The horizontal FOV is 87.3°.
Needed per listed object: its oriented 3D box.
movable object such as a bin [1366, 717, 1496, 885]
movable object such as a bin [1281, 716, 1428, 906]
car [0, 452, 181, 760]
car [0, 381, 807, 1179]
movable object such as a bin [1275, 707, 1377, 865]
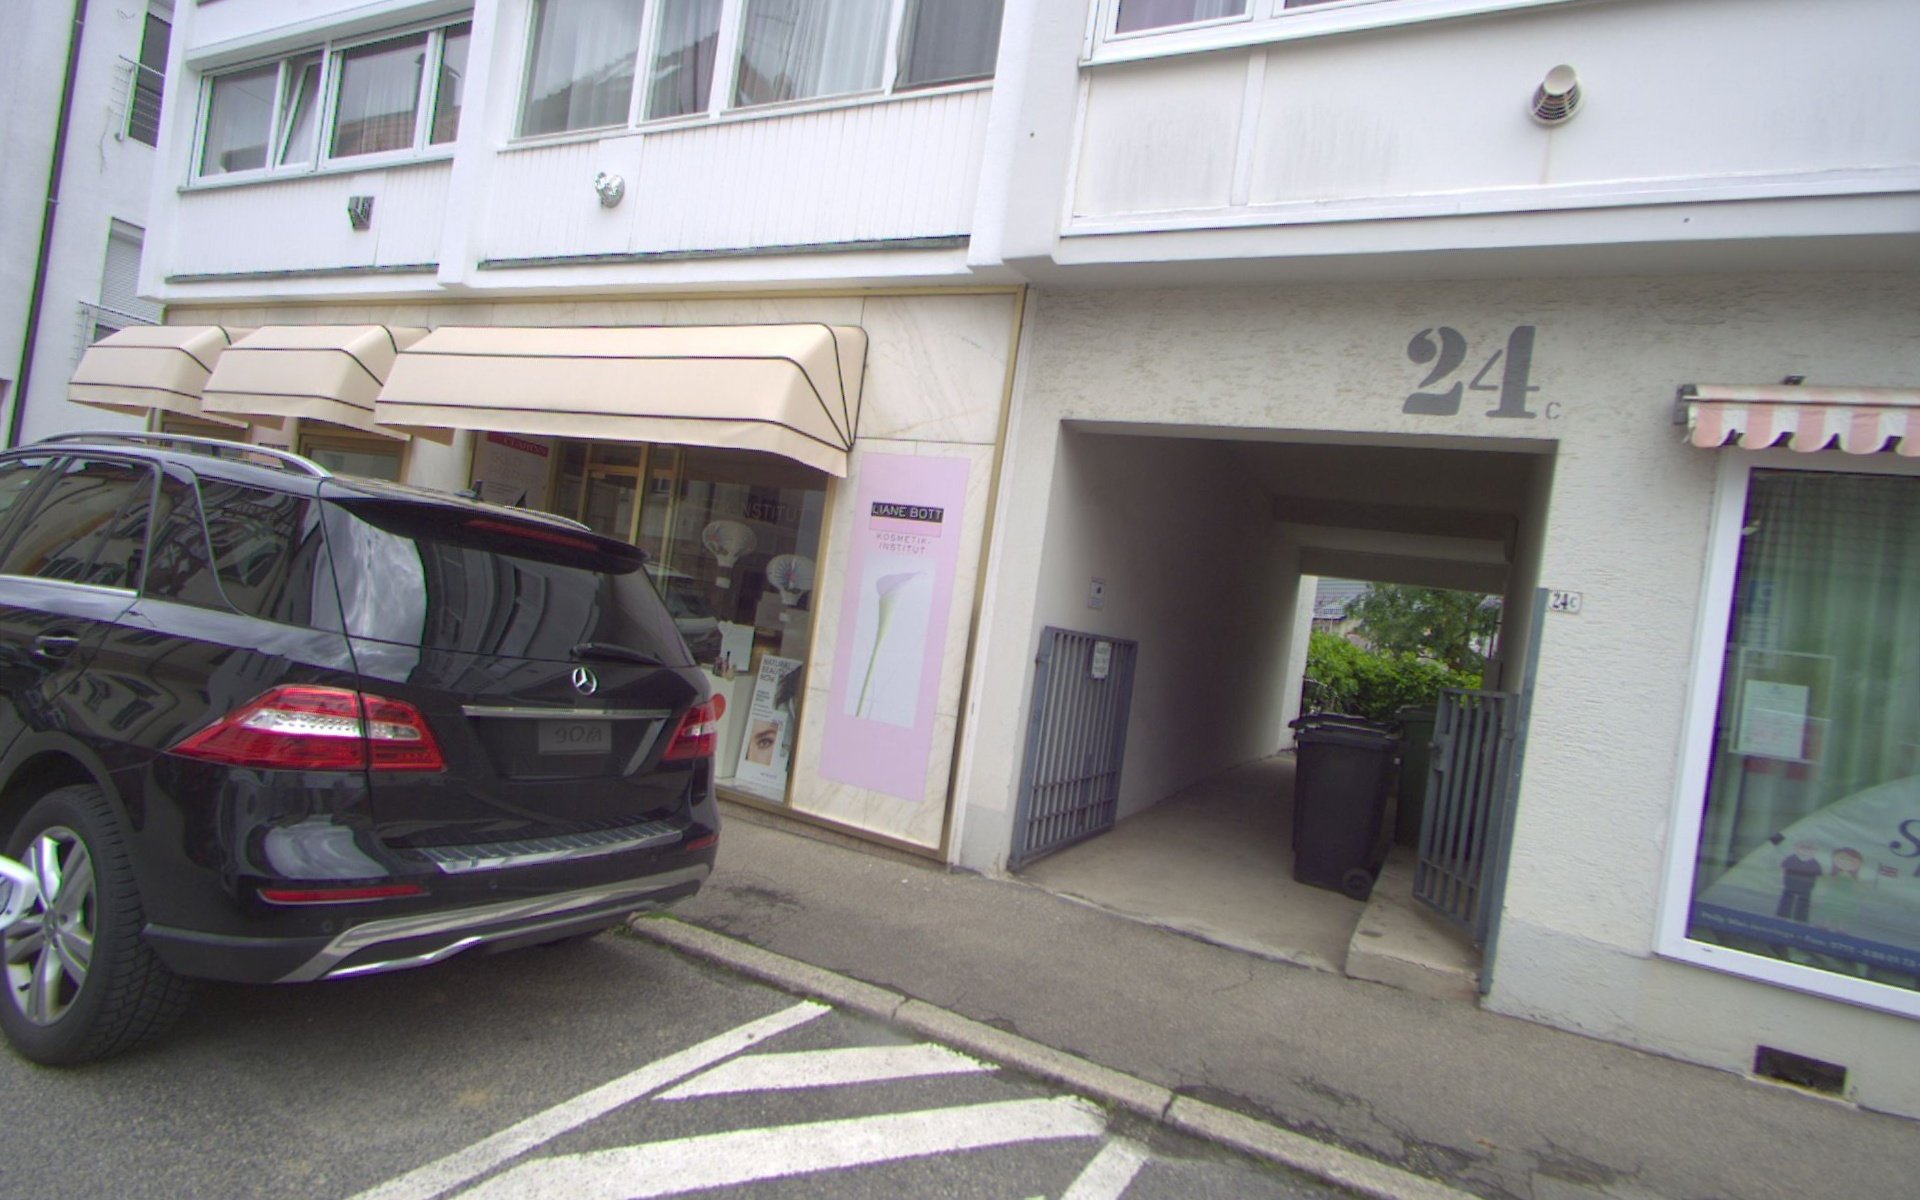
[{"bbox_3d":[3.559,1.477,7.589,0.717,1.055,0.665,8,1,30],"label":"movable object such as a bin"},{"bbox_3d":[2.644,1.371,6.729,0.693,1.055,0.665,8,1,31],"label":"movable object such as a bin"},{"bbox_3d":[-7.392,-0.222,6.483,4.299,1.731,1.940,8,-2,27],"label":"car"},{"bbox_3d":[-3.050,0.302,4.122,4.292,1.799,1.948,6,-3,27],"label":"car"},{"bbox_3d":[2.784,1.385,7.641,0.524,1.055,0.556,8,1,30],"label":"movable object such as a bin"}]
